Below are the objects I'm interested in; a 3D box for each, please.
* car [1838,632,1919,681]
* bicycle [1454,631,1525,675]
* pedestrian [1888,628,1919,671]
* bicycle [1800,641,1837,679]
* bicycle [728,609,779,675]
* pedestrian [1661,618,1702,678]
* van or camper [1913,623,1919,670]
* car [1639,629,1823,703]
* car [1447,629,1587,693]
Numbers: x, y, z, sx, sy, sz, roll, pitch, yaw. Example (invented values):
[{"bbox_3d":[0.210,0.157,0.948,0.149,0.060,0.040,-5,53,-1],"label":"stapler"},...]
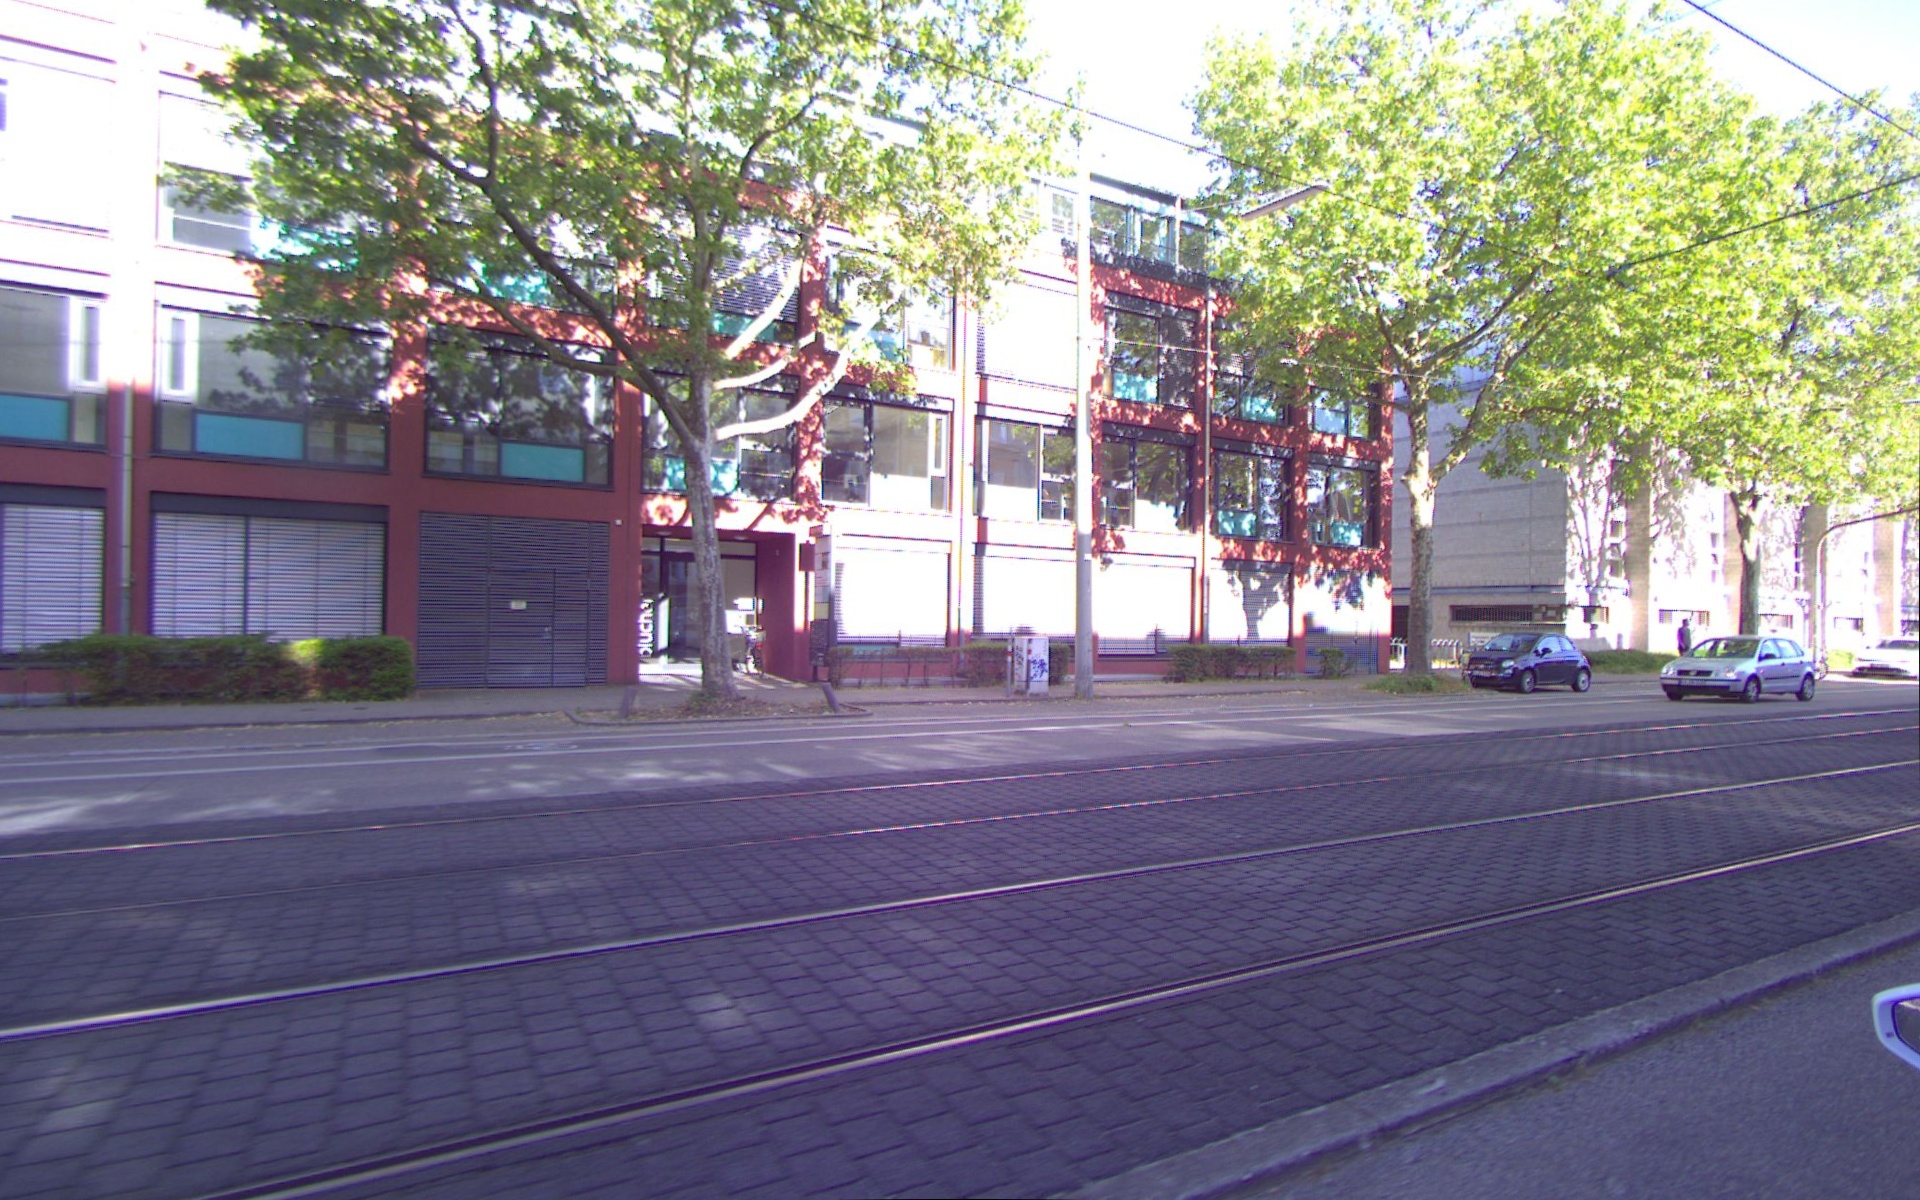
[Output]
[{"bbox_3d":[34.788,2.061,37.289,4.640,1.594,2.001,1,1,-31],"label":"car"},{"bbox_3d":[17.208,1.694,32.711,0.656,1.295,1.999,1,1,-29],"label":"bicycle"},{"bbox_3d":[41.619,2.163,44.283,0.662,1.845,0.793,1,1,-29],"label":"pedestrian"},{"bbox_3d":[29.816,2.072,34.883,1.638,1.225,0.577,1,1,-36],"label":"bicycle"},{"bbox_3d":[-4.516,0.880,21.877,0.610,1.289,2.055,1,1,-25],"label":"bicycle"},{"bbox_3d":[23.683,1.572,32.977,0.774,1.895,0.669,1,1,-14],"label":"pedestrian"},{"bbox_3d":[43.595,2.070,42.498,5.096,1.976,2.063,2,1,-10],"label":"van or camper"},{"bbox_3d":[17.352,1.453,22.595,4.019,1.538,1.746,2,-3,-28],"label":"car"},{"bbox_3d":[14.040,1.521,25.303,3.421,1.473,1.501,2,-1,-29],"label":"car"}]
